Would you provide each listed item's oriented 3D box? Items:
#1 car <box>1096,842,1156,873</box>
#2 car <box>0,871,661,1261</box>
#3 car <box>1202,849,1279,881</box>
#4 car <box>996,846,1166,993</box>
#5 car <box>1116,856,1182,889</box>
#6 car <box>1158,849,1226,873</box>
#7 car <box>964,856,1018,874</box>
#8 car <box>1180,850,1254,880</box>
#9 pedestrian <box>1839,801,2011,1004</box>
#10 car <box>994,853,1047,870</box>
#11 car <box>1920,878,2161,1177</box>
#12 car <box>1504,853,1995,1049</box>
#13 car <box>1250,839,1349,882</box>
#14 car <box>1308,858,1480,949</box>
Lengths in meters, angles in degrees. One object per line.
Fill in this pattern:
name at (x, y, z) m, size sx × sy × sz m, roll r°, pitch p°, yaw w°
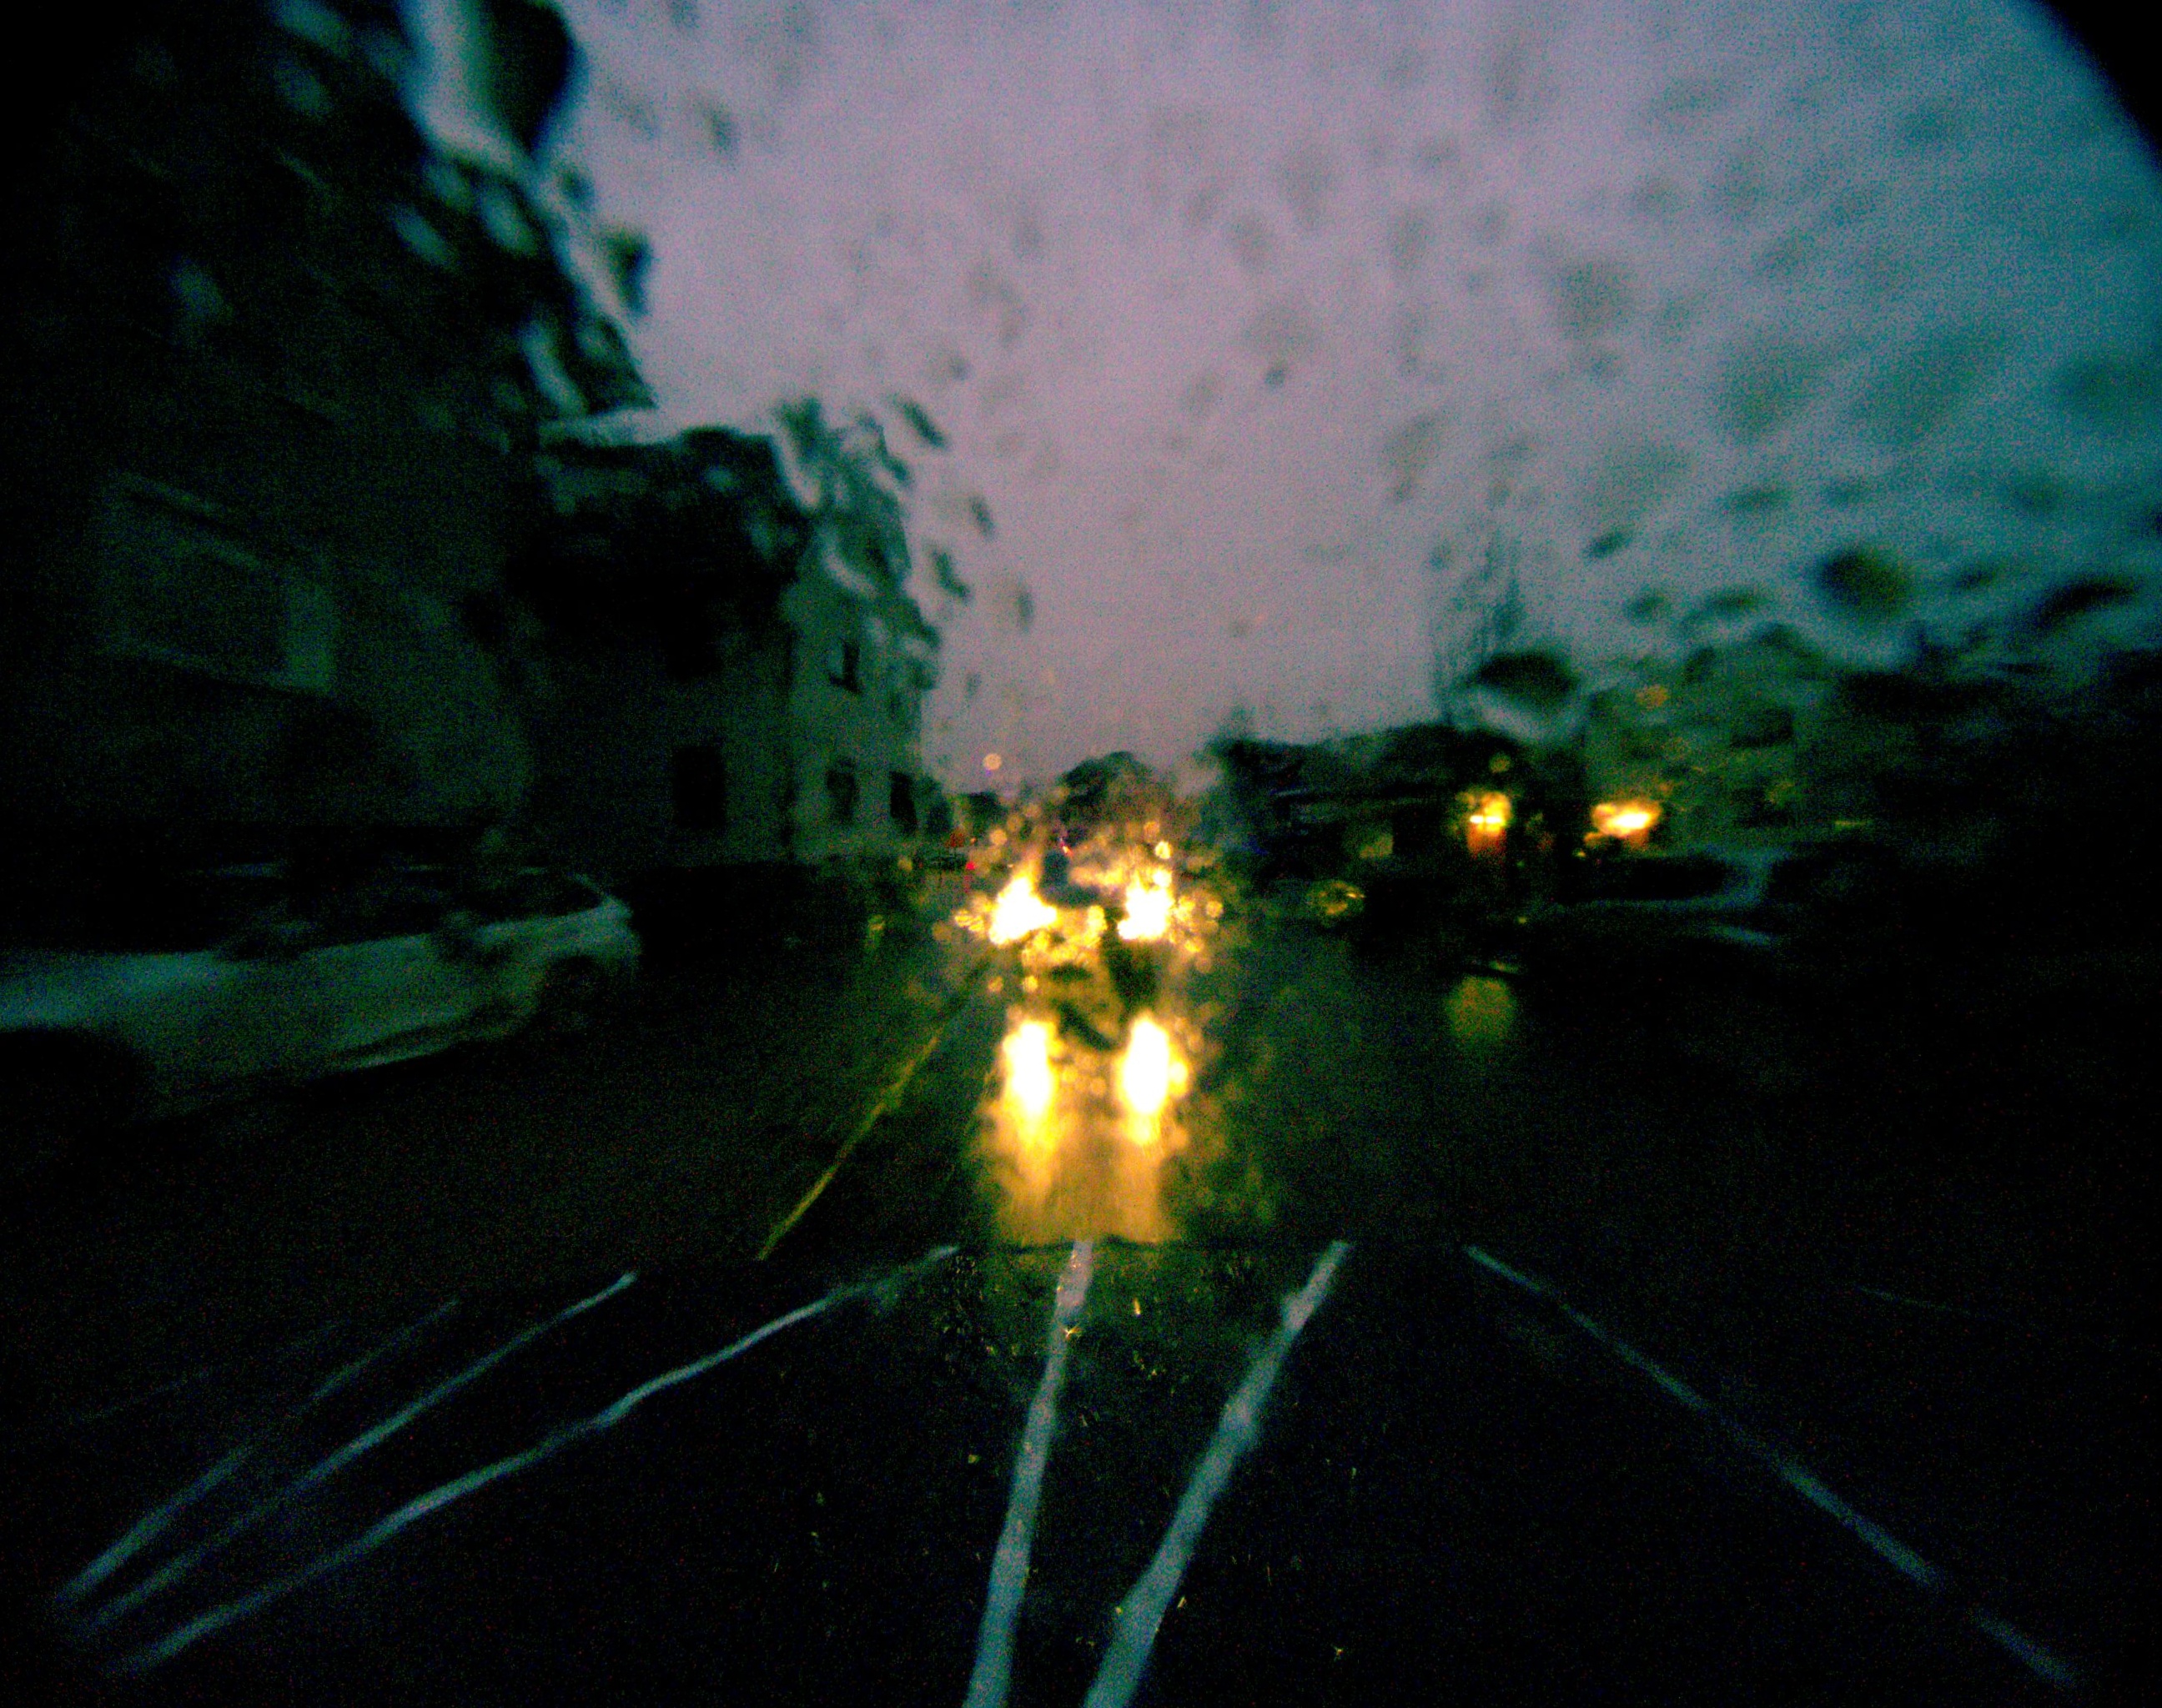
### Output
car at (3.113, 0.243, 53.044) m, size 3.996 × 2.002 × 2.000 m, roll -2°, pitch 1°, yaw 1°
car at (-5.122, 0.935, 4.627) m, size 1.933 × 1.476 × 4.699 m, roll -2°, pitch 0°, yaw 9°
car at (8.447, 0.570, 40.545) m, size 3.839 × 1.537 × 2.001 m, roll -2°, pitch 1°, yaw 8°
car at (0.025, 0.783, 11.200) m, size 1.998 × 1.720 × 4.000 m, roll -2°, pitch 0°, yaw 1°
car at (3.221, 0.841, 36.690) m, size 1.983 × 1.438 × 3.909 m, roll -2°, pitch 0°, yaw -13°
car at (6.708, 0.405, 46.199) m, size 3.995 × 1.291 × 2.001 m, roll -2°, pitch 1°, yaw 6°
car at (-7.237, 0.873, 61.007) m, size 4.003 × 1.291 × 1.997 m, roll -2°, pitch 1°, yaw -19°
car at (7.723, 0.622, 43.228) m, size 3.993 × 1.538 × 2.001 m, roll -2°, pitch 1°, yaw 11°
pedestrian at (8.779, 0.490, 7.953) m, size 0.902 × 2.002 × 0.791 m, roll -1°, pitch 0°, yaw 10°
car at (-5.307, 0.662, 66.481) m, size 4.250 × 1.291 × 1.996 m, roll -2°, pitch 1°, yaw -22°
car at (6.252, 0.885, 2.715) m, size 1.698 × 1.423 × 4.377 m, roll -2°, pitch 0°, yaw 1°
car at (6.557, 0.792, 8.099) m, size 1.880 × 1.526 × 3.670 m, roll -2°, pitch 1°, yaw -4°
car at (9.462, 0.290, 33.016) m, size 3.992 × 1.753 × 1.435 m, roll -2°, pitch 1°, yaw 17°
car at (6.225, 0.899, 15.672) m, size 1.840 × 1.526 × 4.139 m, roll -2°, pitch 0°, yaw 1°
